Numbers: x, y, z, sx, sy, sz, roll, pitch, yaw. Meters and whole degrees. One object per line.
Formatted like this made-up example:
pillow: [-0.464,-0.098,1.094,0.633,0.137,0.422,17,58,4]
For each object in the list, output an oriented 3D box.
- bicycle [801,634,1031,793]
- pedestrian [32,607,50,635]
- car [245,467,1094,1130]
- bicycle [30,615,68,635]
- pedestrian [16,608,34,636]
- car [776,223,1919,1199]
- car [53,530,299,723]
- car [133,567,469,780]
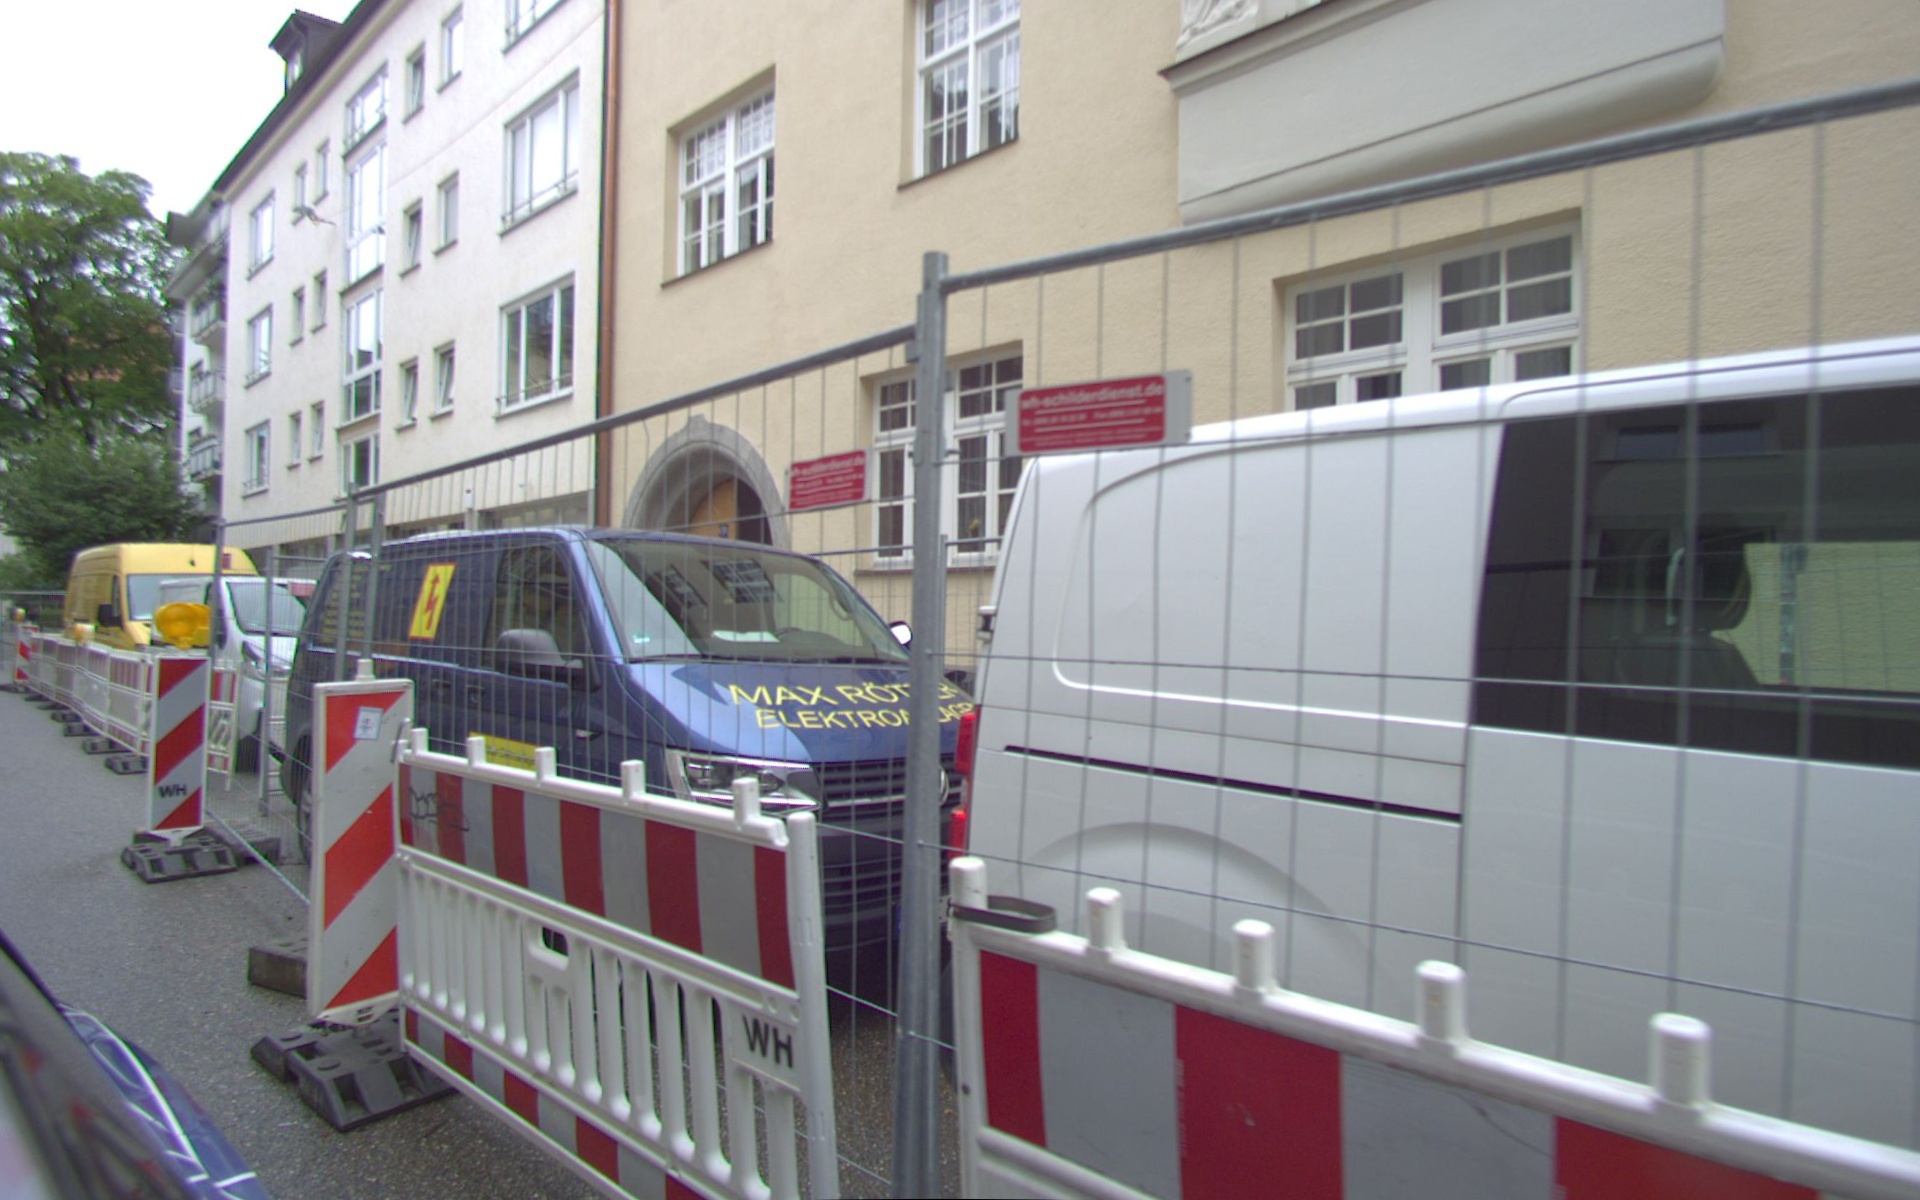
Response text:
bicycle: [-0.423,0.893,8.469,2.131,1.197,0.378,-2,-2,35]
pedestrian: [-58.247,1.334,64.156,0.841,1.741,0.686,-1,2,43]
car: [-2.060,0.631,5.443,5.508,1.912,1.708,-1,-4,43]
bicycle: [-59.702,1.662,66.316,0.432,1.270,1.787,-1,-2,41]
pedestrian: [-58.768,1.376,63.589,0.841,1.741,0.712,-1,2,43]
car: [2.090,0.508,1.713,5.084,1.912,1.885,0,-2,40]
car: [-13.065,0.420,16.636,6.735,2.598,1.972,-1,-3,42]
car: [-7.573,0.726,11.417,4.789,1.912,1.897,-1,-4,41]
